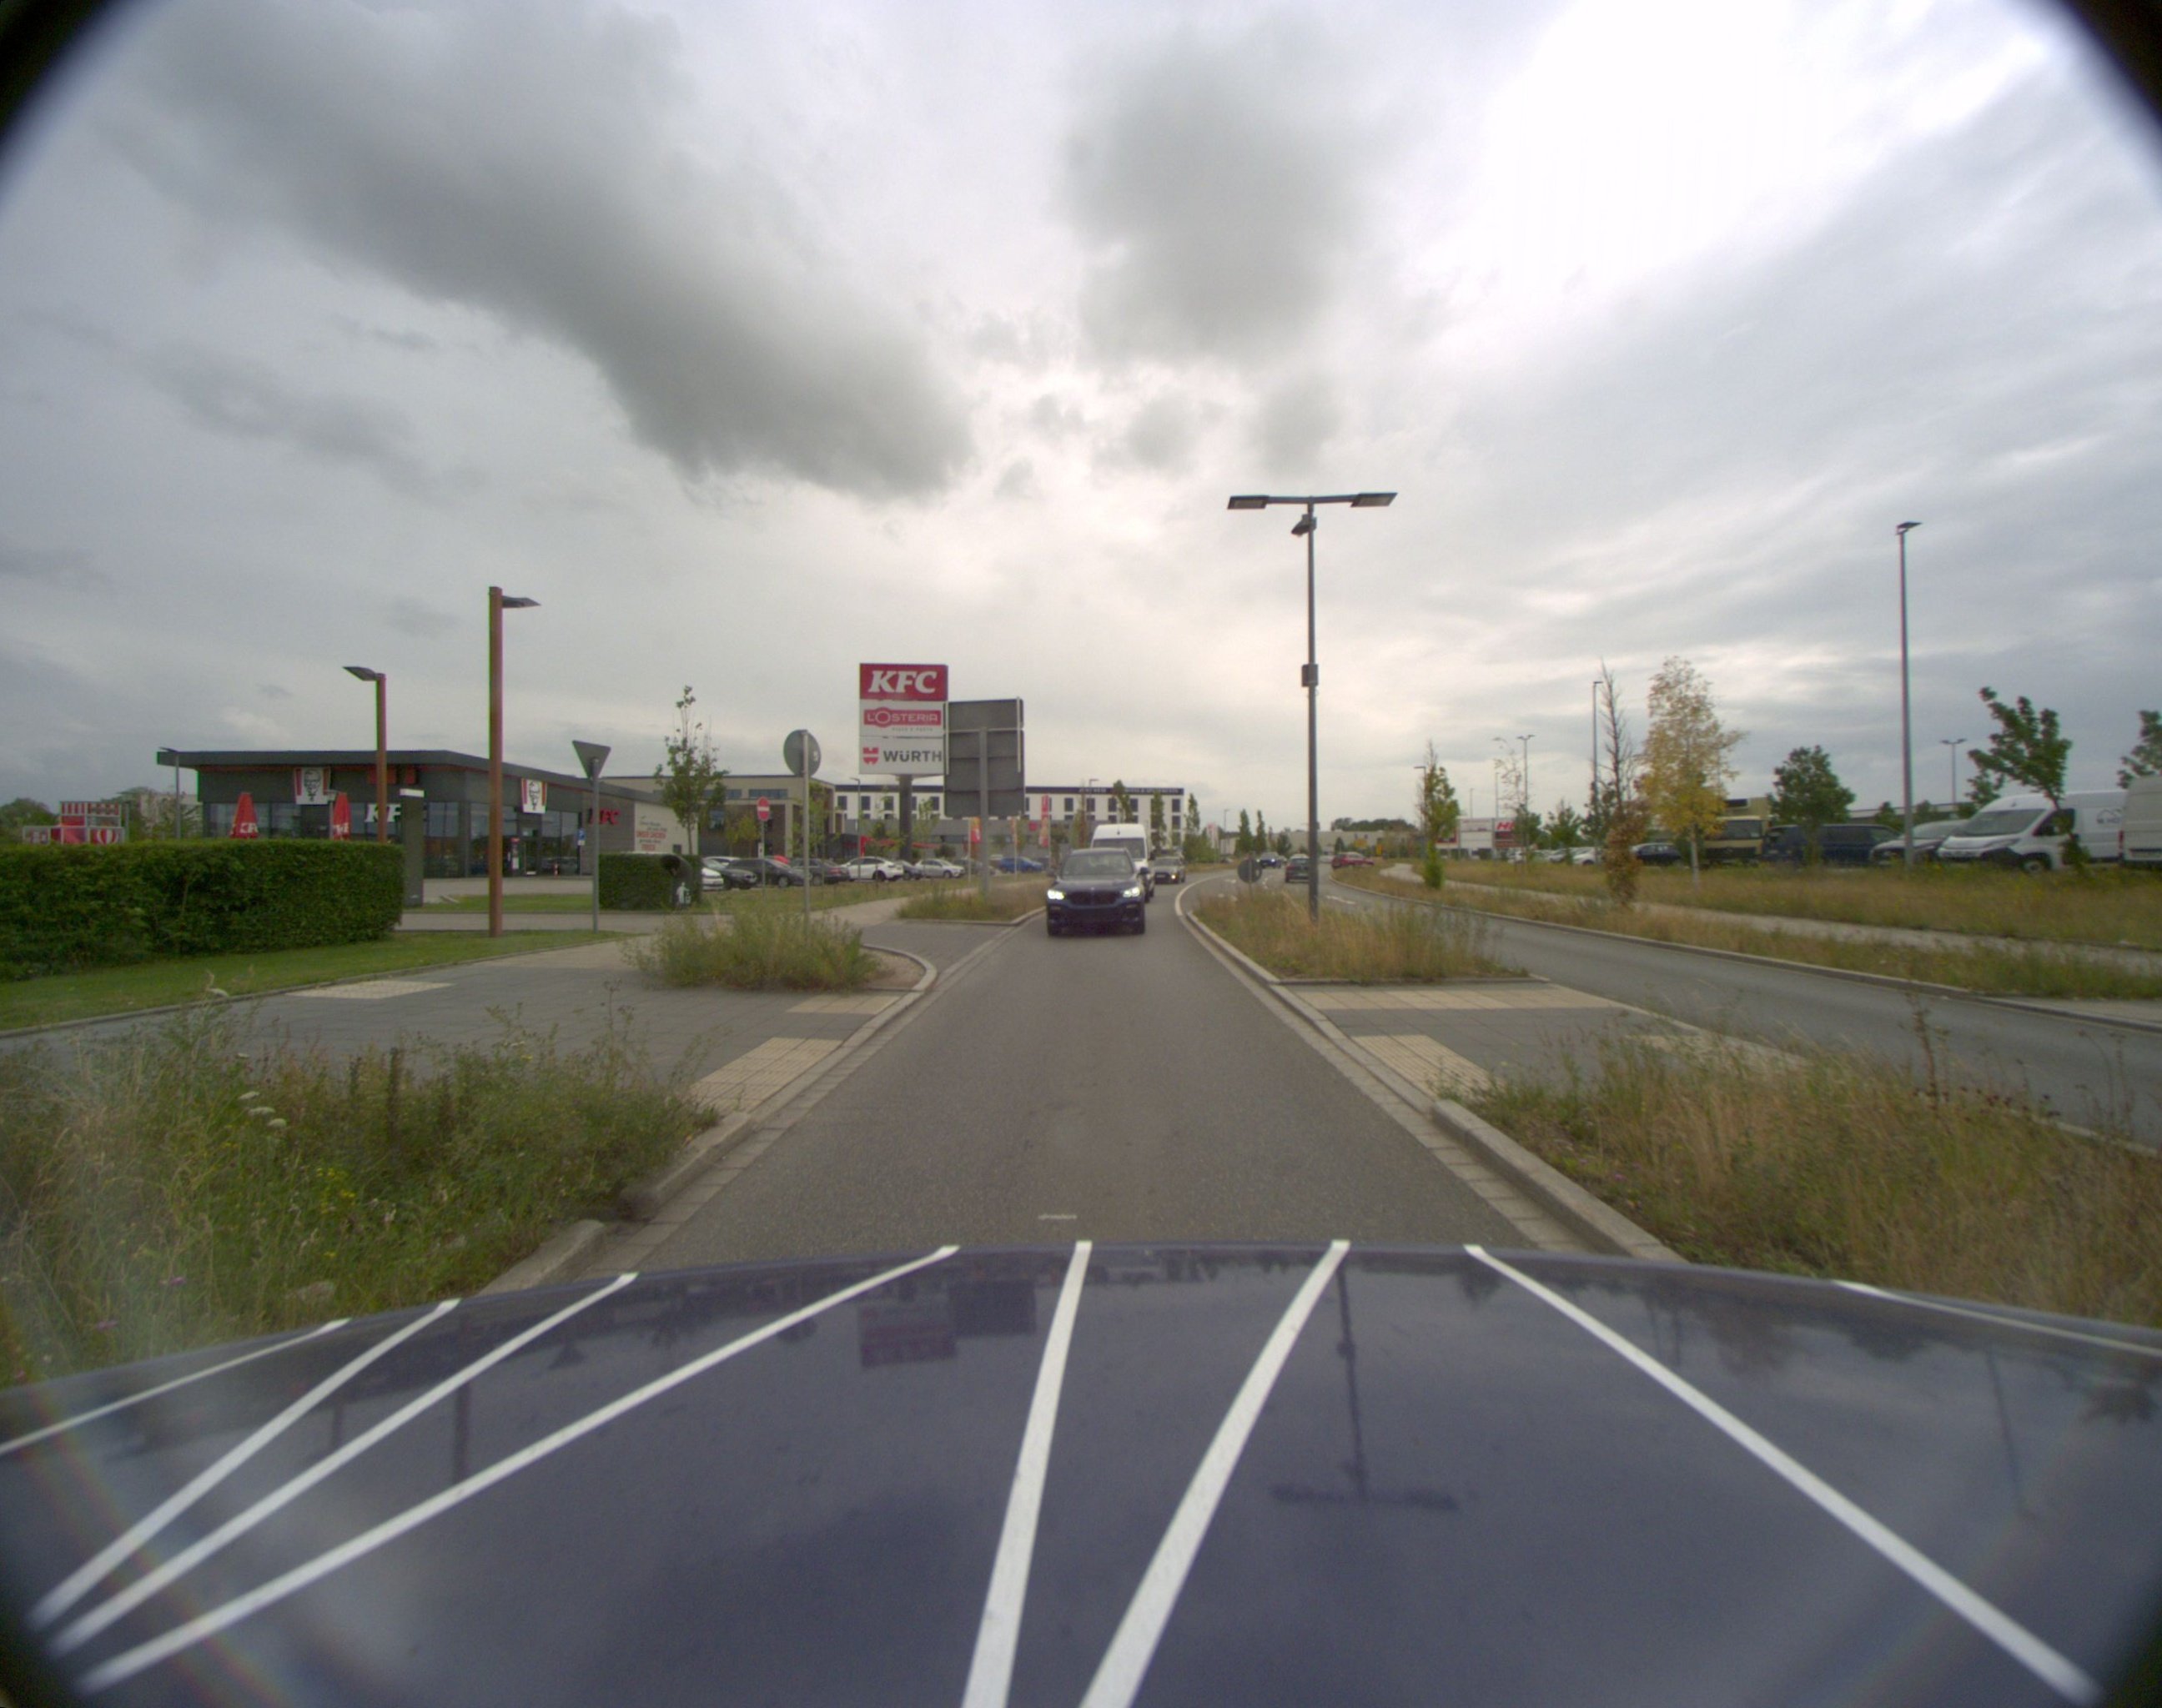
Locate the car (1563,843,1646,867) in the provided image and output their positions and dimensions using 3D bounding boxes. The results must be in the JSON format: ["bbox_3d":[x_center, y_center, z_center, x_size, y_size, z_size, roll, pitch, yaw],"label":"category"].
[{"bbox_3d":[35.368,0.089,51.453,4.253,1.550,1.991,0,0,14],"label":"car"}]

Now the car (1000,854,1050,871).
[{"bbox_3d":[-5.229,0.781,71.027,4.266,1.511,1.969,0,0,23],"label":"car"}]

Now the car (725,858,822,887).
[{"bbox_3d":[-15.336,0.900,38.014,4.092,1.429,1.944,0,0,7],"label":"car"}]

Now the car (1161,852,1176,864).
[{"bbox_3d":[12.760,0.589,110.516,1.765,1.676,4.416,0,0,12],"label":"car"}]

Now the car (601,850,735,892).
[{"bbox_3d":[-16.592,0.659,30.638,4.357,1.630,1.938,0,0,3],"label":"car"}]

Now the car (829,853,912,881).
[{"bbox_3d":[-13.208,0.800,47.814,4.568,1.635,2.091,1,1,13],"label":"car"}]

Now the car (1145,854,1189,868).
[{"bbox_3d":[9.014,0.773,79.717,4.233,1.412,1.839,-1,0,38],"label":"car"}]

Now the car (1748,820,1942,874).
[{"bbox_3d":[29.426,-0.244,29.460,4.909,1.978,2.181,-1,0,12],"label":"car"}]

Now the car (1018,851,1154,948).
[{"bbox_3d":[0.258,0.814,15.156,1.997,1.654,4.004,-1,-1,11],"label":"car"}]

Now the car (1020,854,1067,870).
[{"bbox_3d":[-3.625,0.781,73.158,3.990,1.485,1.985,0,0,25],"label":"car"}]

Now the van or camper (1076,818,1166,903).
[{"bbox_3d":[1.534,0.222,26.122,2.262,2.601,5.702,0,0,12],"label":"van or camper"}]

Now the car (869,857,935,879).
[{"bbox_3d":[-12.437,0.952,52.846,3.991,1.476,1.943,0,1,17],"label":"car"}]

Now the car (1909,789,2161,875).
[{"bbox_3d":[28.233,-0.602,21.894,6.082,2.293,2.211,-1,0,4],"label":"car"}]

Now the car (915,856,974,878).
[{"bbox_3d":[-10.294,0.961,57.305,3.865,1.473,1.905,1,1,19],"label":"car"}]

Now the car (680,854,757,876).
[{"bbox_3d":[-26.103,0.763,54.864,4.571,1.510,2.082,1,0,4],"label":"car"}]

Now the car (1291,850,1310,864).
[{"bbox_3d":[22.538,0.310,78.203,1.705,1.429,4.037,0,0,13],"label":"car"}]

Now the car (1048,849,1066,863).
[{"bbox_3d":[-3.481,0.350,108.952,2.000,1.975,4.633,-1,0,-8],"label":"car"}]

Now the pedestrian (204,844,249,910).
[{"bbox_3d":[-23.511,0.623,20.917,0.472,1.795,0.799,-1,1,-21],"label":"pedestrian"}]

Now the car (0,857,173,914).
[{"bbox_3d":[-27.326,0.799,19.987,4.163,1.421,2.000,0,0,-43],"label":"car"}]

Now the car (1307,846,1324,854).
[{"bbox_3d":[62.478,-1.146,202.543,4.002,2.002,1.640,-1,0,-15],"label":"car"}]

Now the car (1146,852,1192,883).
[{"bbox_3d":[4.786,0.712,40.853,1.754,1.575,4.005,-1,0,17],"label":"car"}]

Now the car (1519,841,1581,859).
[{"bbox_3d":[39.534,-0.332,64.133,4.183,1.460,1.889,0,1,20],"label":"car"}]

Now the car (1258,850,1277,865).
[{"bbox_3d":[20.066,0.374,81.640,1.754,1.575,4.005,-1,0,17],"label":"car"}]

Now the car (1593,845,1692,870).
[{"bbox_3d":[32.668,0.202,44.346,4.237,1.426,2.000,0,0,18],"label":"car"}]

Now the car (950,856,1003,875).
[{"bbox_3d":[-8.486,0.906,61.776,3.762,1.485,1.893,0,0,21],"label":"car"}]

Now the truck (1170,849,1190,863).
[{"bbox_3d":[16.581,0.331,126.905,2.229,2.312,8.225,0,0,16],"label":"truck"}]

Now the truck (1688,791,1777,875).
[{"bbox_3d":[30.703,-0.887,35.737,2.851,3.520,8.447,-1,0,42],"label":"truck"}]

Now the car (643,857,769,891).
[{"bbox_3d":[-16.300,0.848,33.147,4.477,1.428,2.075,0,0,5],"label":"car"}]

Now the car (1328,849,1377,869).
[{"bbox_3d":[24.498,0.453,68.457,4.335,1.660,1.799,2,1,-33],"label":"car"}]

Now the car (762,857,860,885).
[{"bbox_3d":[-14.456,0.886,40.864,4.525,1.460,2.033,0,0,9],"label":"car"}]

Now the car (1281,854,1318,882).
[{"bbox_3d":[11.995,0.739,41.672,1.843,1.399,4.005,2,0,17],"label":"car"}]

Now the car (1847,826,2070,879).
[{"bbox_3d":[28.676,-0.048,24.975,4.913,1.607,1.995,-1,0,2],"label":"car"}]

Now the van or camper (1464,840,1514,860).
[{"bbox_3d":[57.823,-0.574,107.807,5.860,2.784,2.246,0,1,15],"label":"van or camper"}]

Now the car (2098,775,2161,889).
[{"bbox_3d":[27.577,-0.546,16.907,6.421,2.583,2.244,-1,0,5],"label":"car"}]
